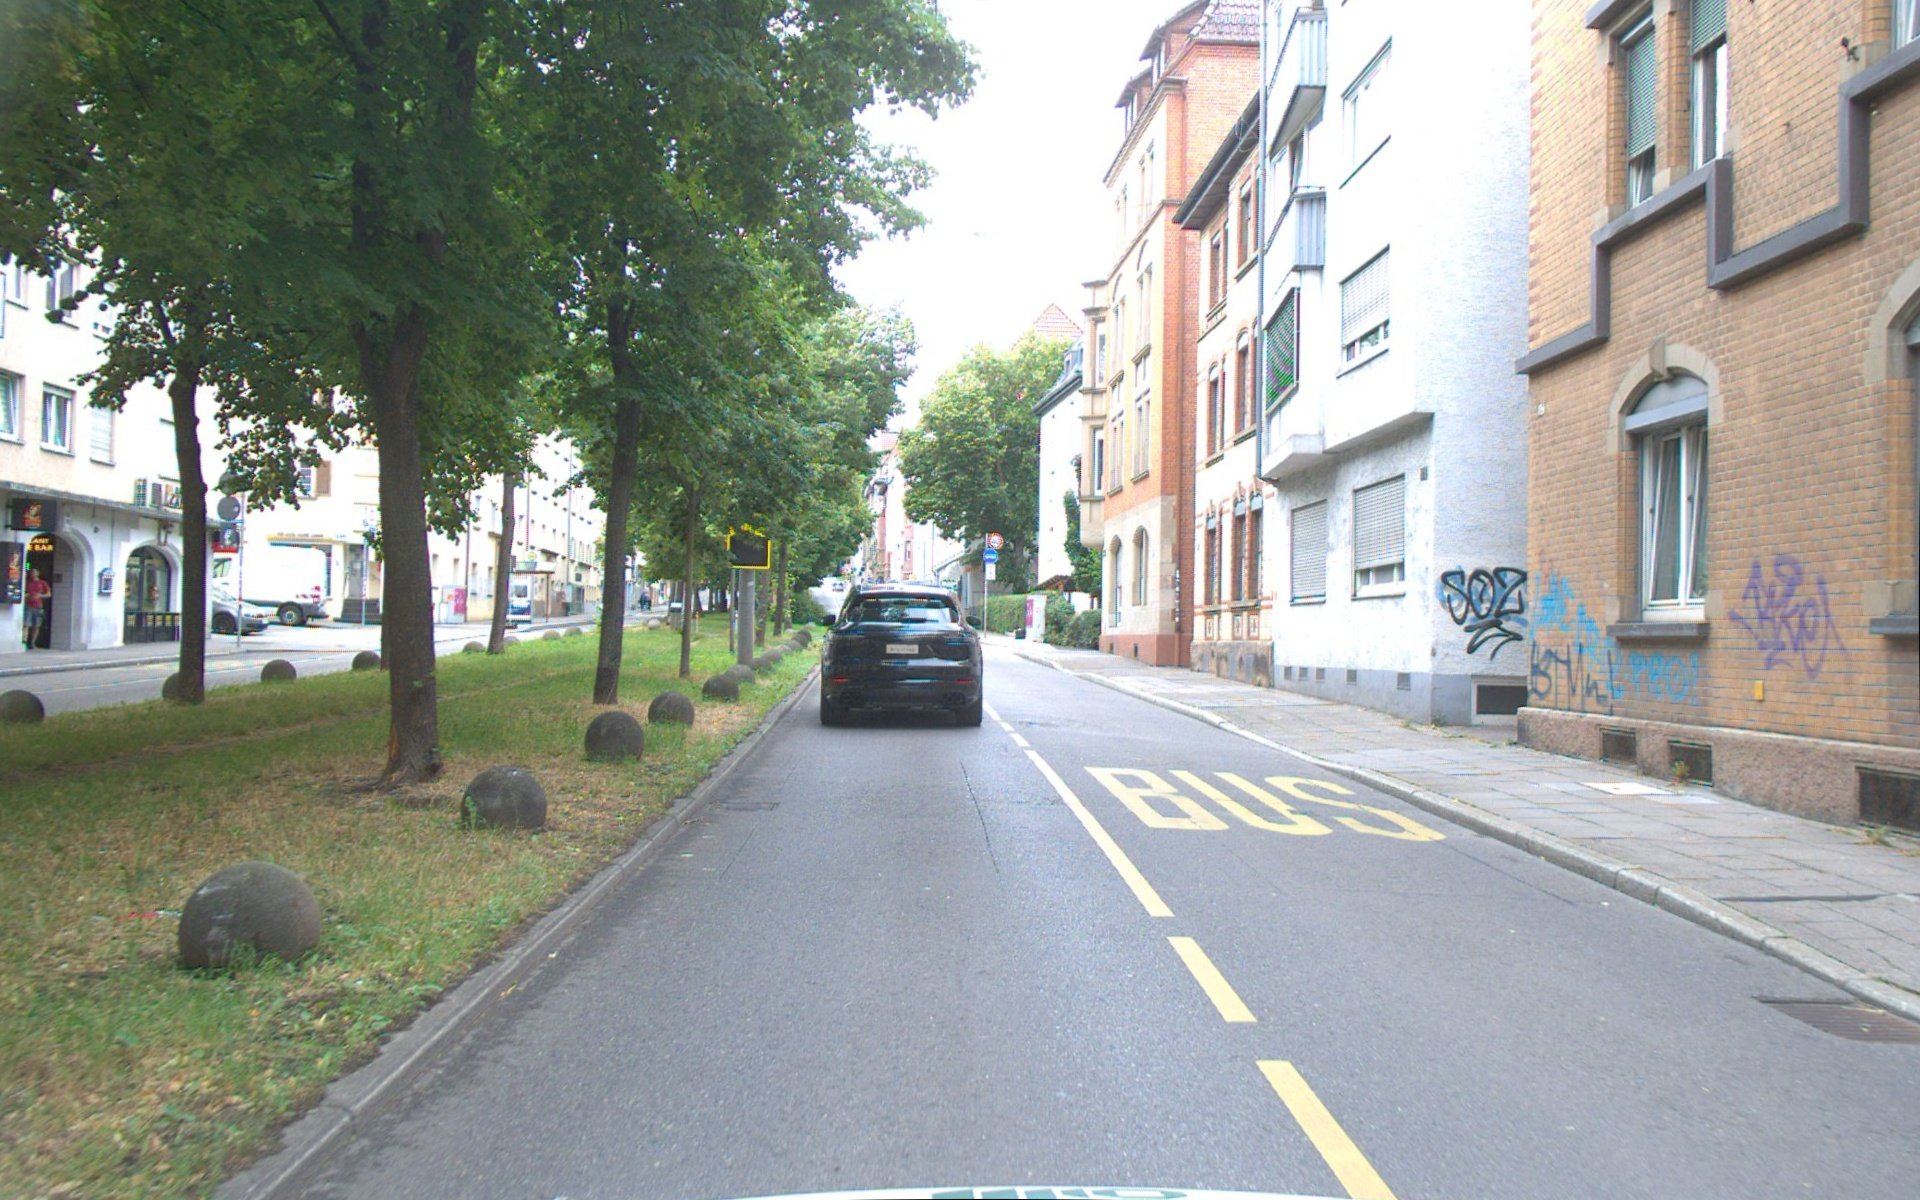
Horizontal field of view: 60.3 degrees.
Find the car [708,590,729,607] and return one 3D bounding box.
[{"bbox_3d":[-25.221,-0.125,172.743,1.912,1.656,4.358,-4,0,-7],"label":"car"}]

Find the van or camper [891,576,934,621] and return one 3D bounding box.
[{"bbox_3d":[-3.187,-0.087,110.285,2.431,2.852,7.230,1,0,-5],"label":"van or camper"}]

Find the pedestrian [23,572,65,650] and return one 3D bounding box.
[{"bbox_3d":[-20.181,0.236,36.445,0.521,1.695,0.700,1,0,-3],"label":"pedestrian"}]

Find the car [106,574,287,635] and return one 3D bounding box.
[{"bbox_3d":[-22.007,0.121,47.815,4.203,1.444,2.046,4,0,-3],"label":"car"}]

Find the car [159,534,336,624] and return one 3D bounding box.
[{"bbox_3d":[-24.208,-0.690,56.395,5.083,2.784,2.170,2,-1,-13],"label":"car"}]

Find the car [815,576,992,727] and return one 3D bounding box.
[{"bbox_3d":[-0.819,0.601,20.944,1.867,1.695,4.129,1,0,-7],"label":"car"}]
